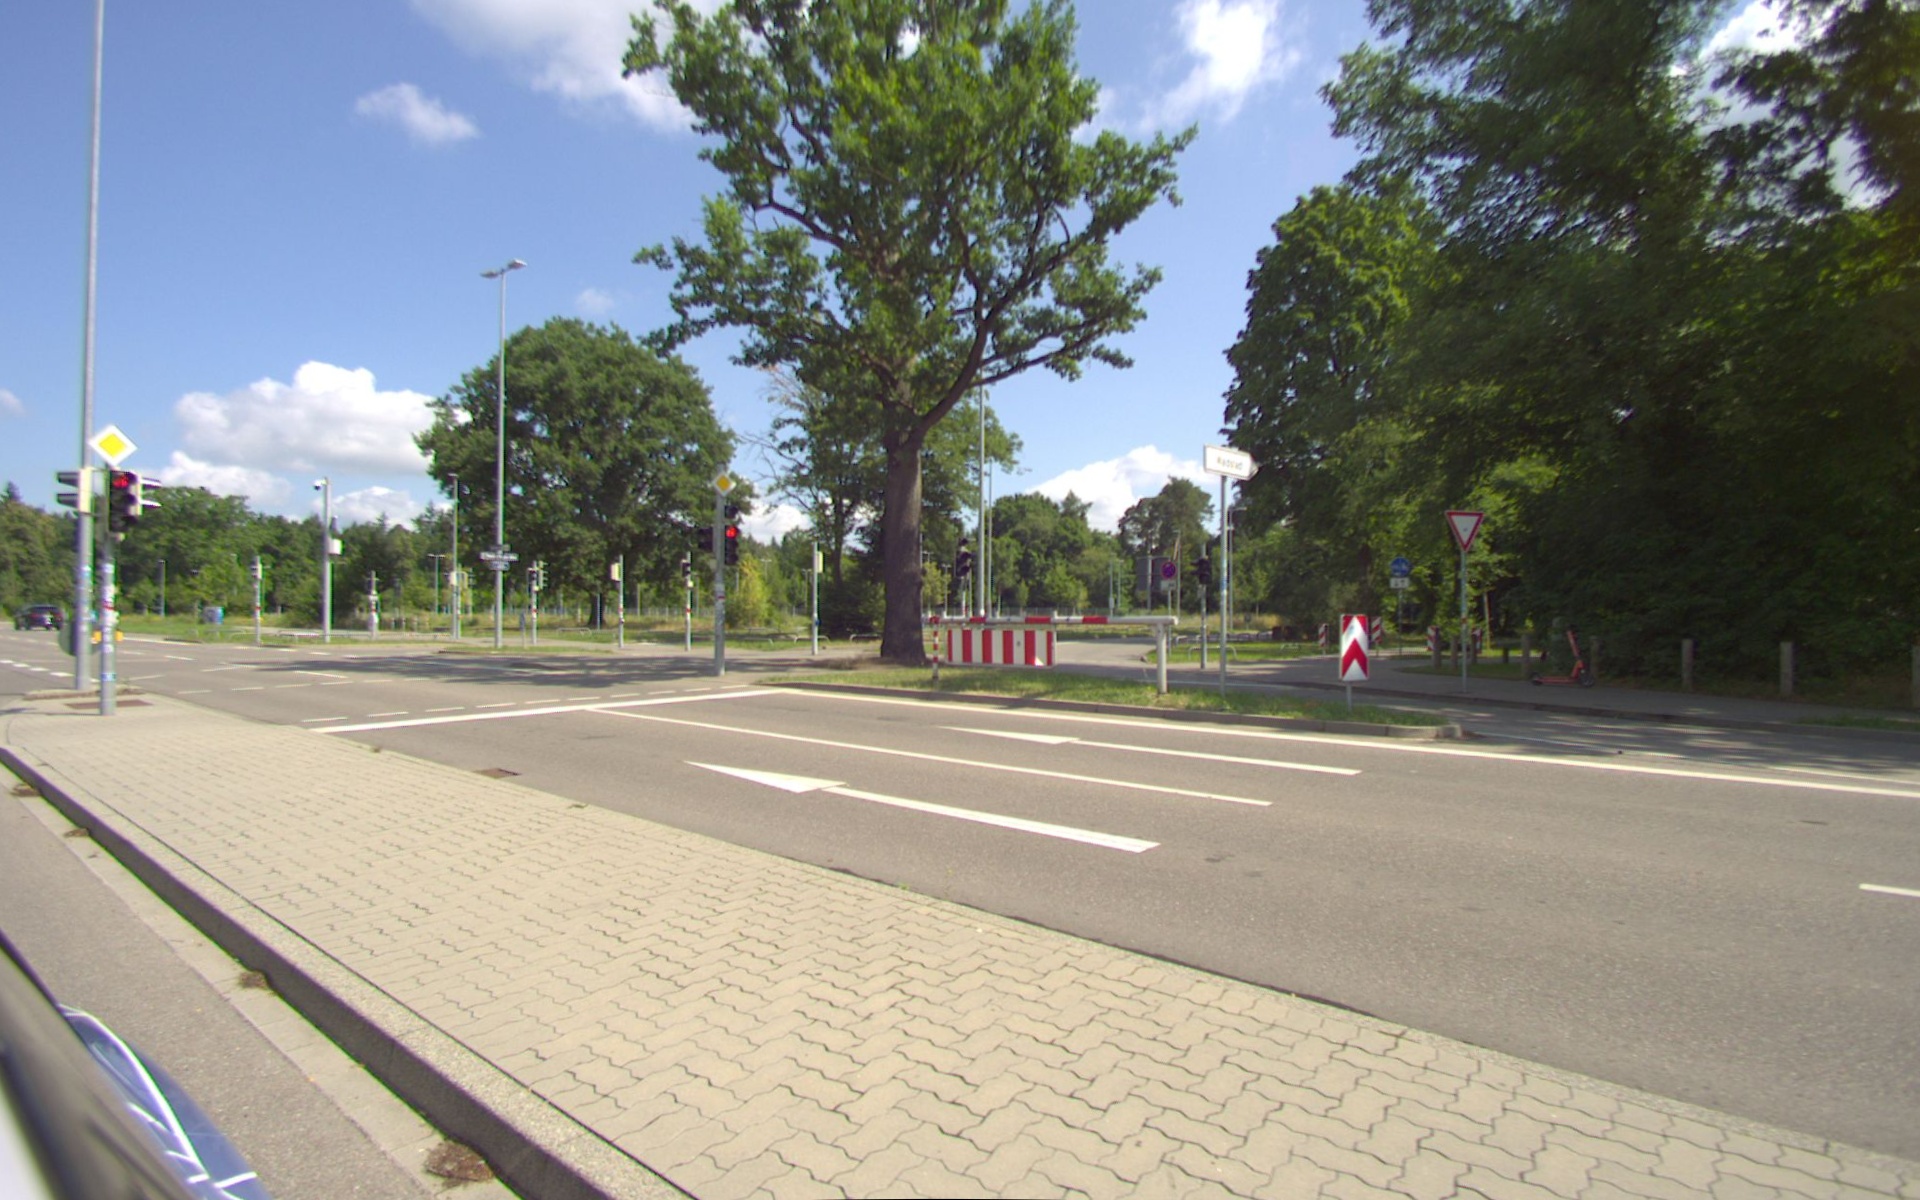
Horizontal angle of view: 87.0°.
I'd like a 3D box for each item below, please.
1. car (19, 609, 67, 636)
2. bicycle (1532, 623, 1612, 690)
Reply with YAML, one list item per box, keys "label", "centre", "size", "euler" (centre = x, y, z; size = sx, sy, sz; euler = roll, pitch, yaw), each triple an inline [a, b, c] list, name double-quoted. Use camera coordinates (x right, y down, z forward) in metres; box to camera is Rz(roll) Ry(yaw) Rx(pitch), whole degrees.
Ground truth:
- label: "car"
  centre: [-62.915, 1.541, 69.437]
  size: [4.706, 1.778, 1.954]
  euler: [-1, -1, 42]
- label: "bicycle"
  centre: [11.383, 1.026, 18.847]
  size: [0.414, 1.182, 1.233]
  euler: [0, 0, -27]
